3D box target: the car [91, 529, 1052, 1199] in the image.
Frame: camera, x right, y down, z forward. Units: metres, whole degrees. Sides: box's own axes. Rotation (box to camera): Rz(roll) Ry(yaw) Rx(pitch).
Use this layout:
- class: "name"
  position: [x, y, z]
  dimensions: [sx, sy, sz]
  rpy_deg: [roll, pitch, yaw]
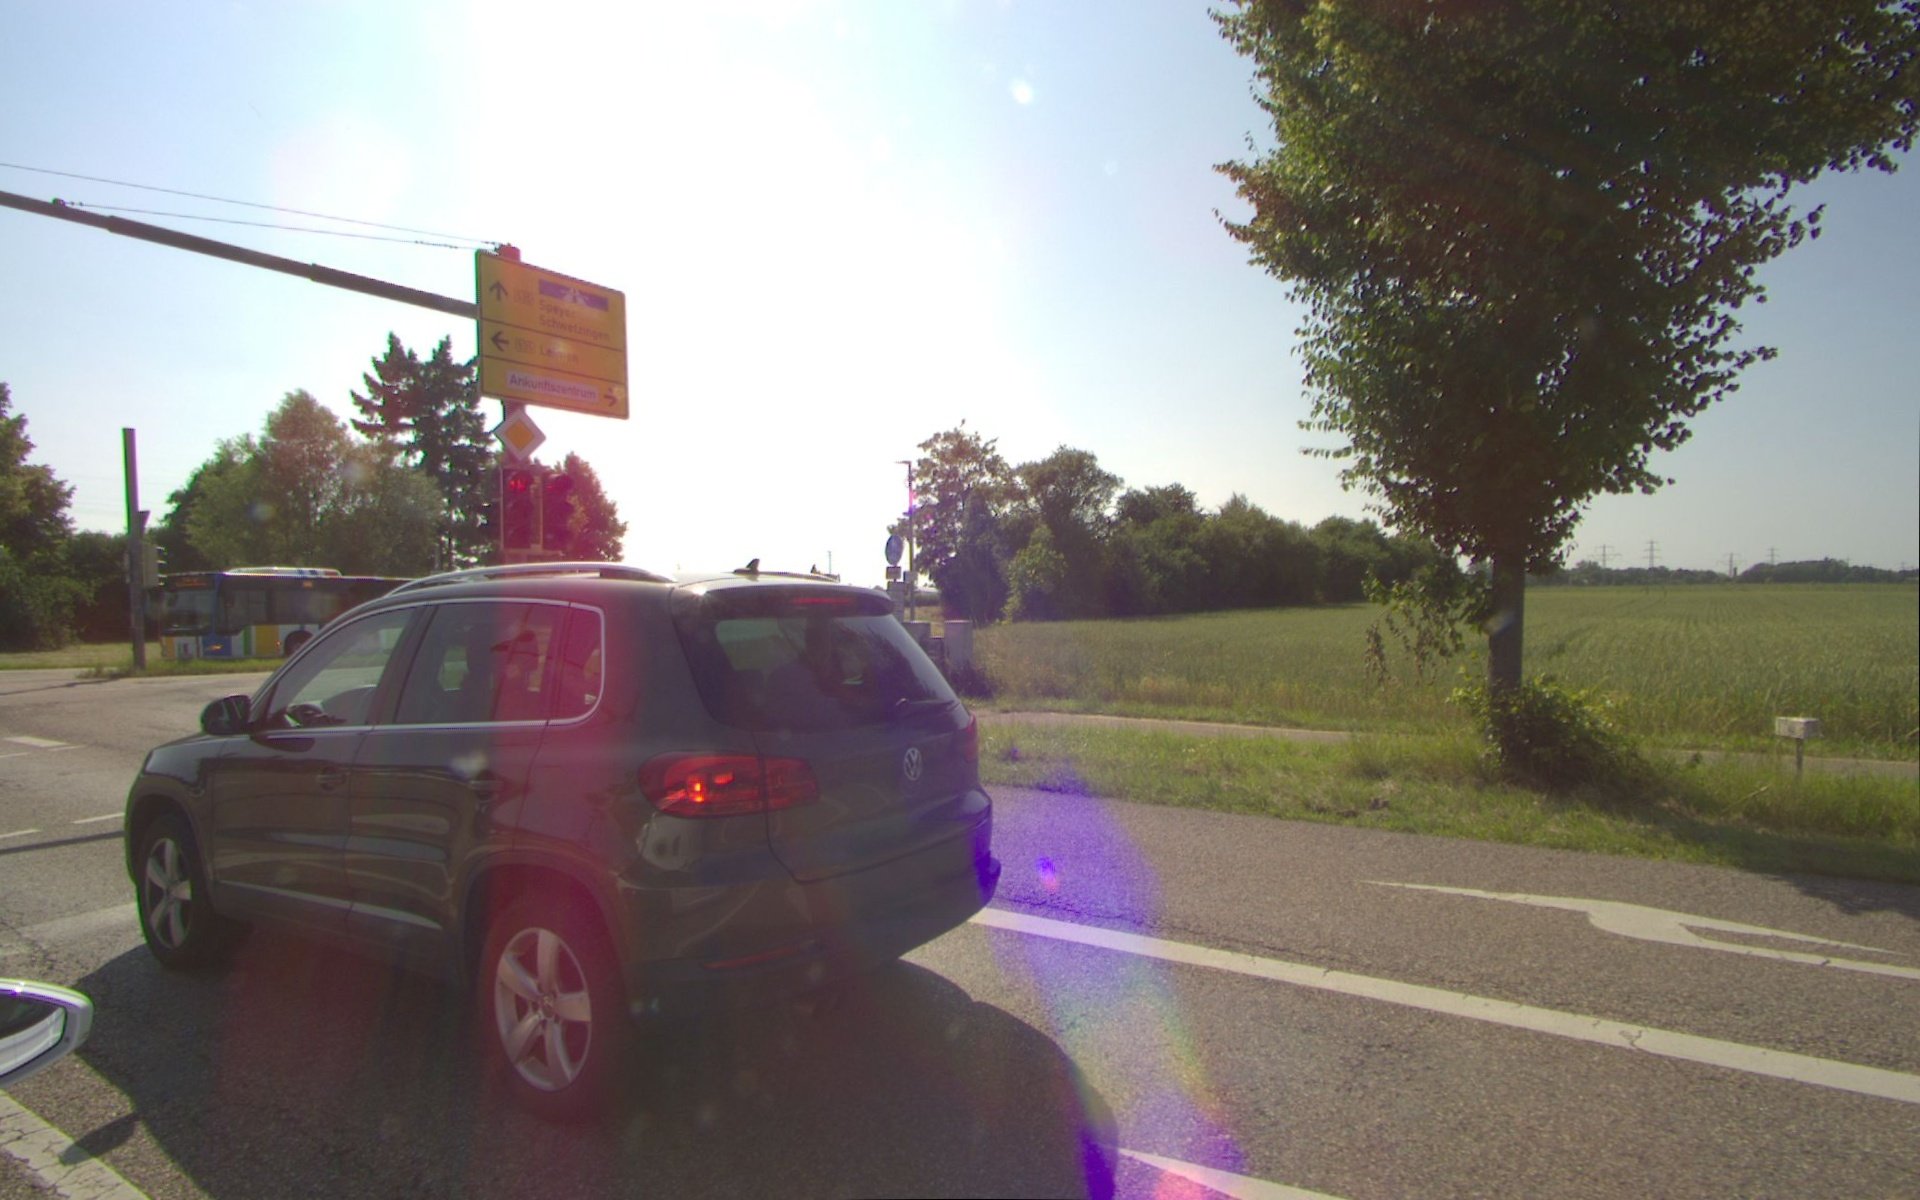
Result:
- class: "car"
  position: [-1.822, 0.710, 4.301]
  dimensions: [4.086, 1.677, 1.753]
  rpy_deg: [-1, -1, 32]

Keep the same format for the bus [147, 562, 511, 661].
- class: "bus"
  position: [-21.622, 0.291, 35.852]
  dimensions: [2.889, 2.916, 11.955]
  rpy_deg: [-1, 1, 17]
